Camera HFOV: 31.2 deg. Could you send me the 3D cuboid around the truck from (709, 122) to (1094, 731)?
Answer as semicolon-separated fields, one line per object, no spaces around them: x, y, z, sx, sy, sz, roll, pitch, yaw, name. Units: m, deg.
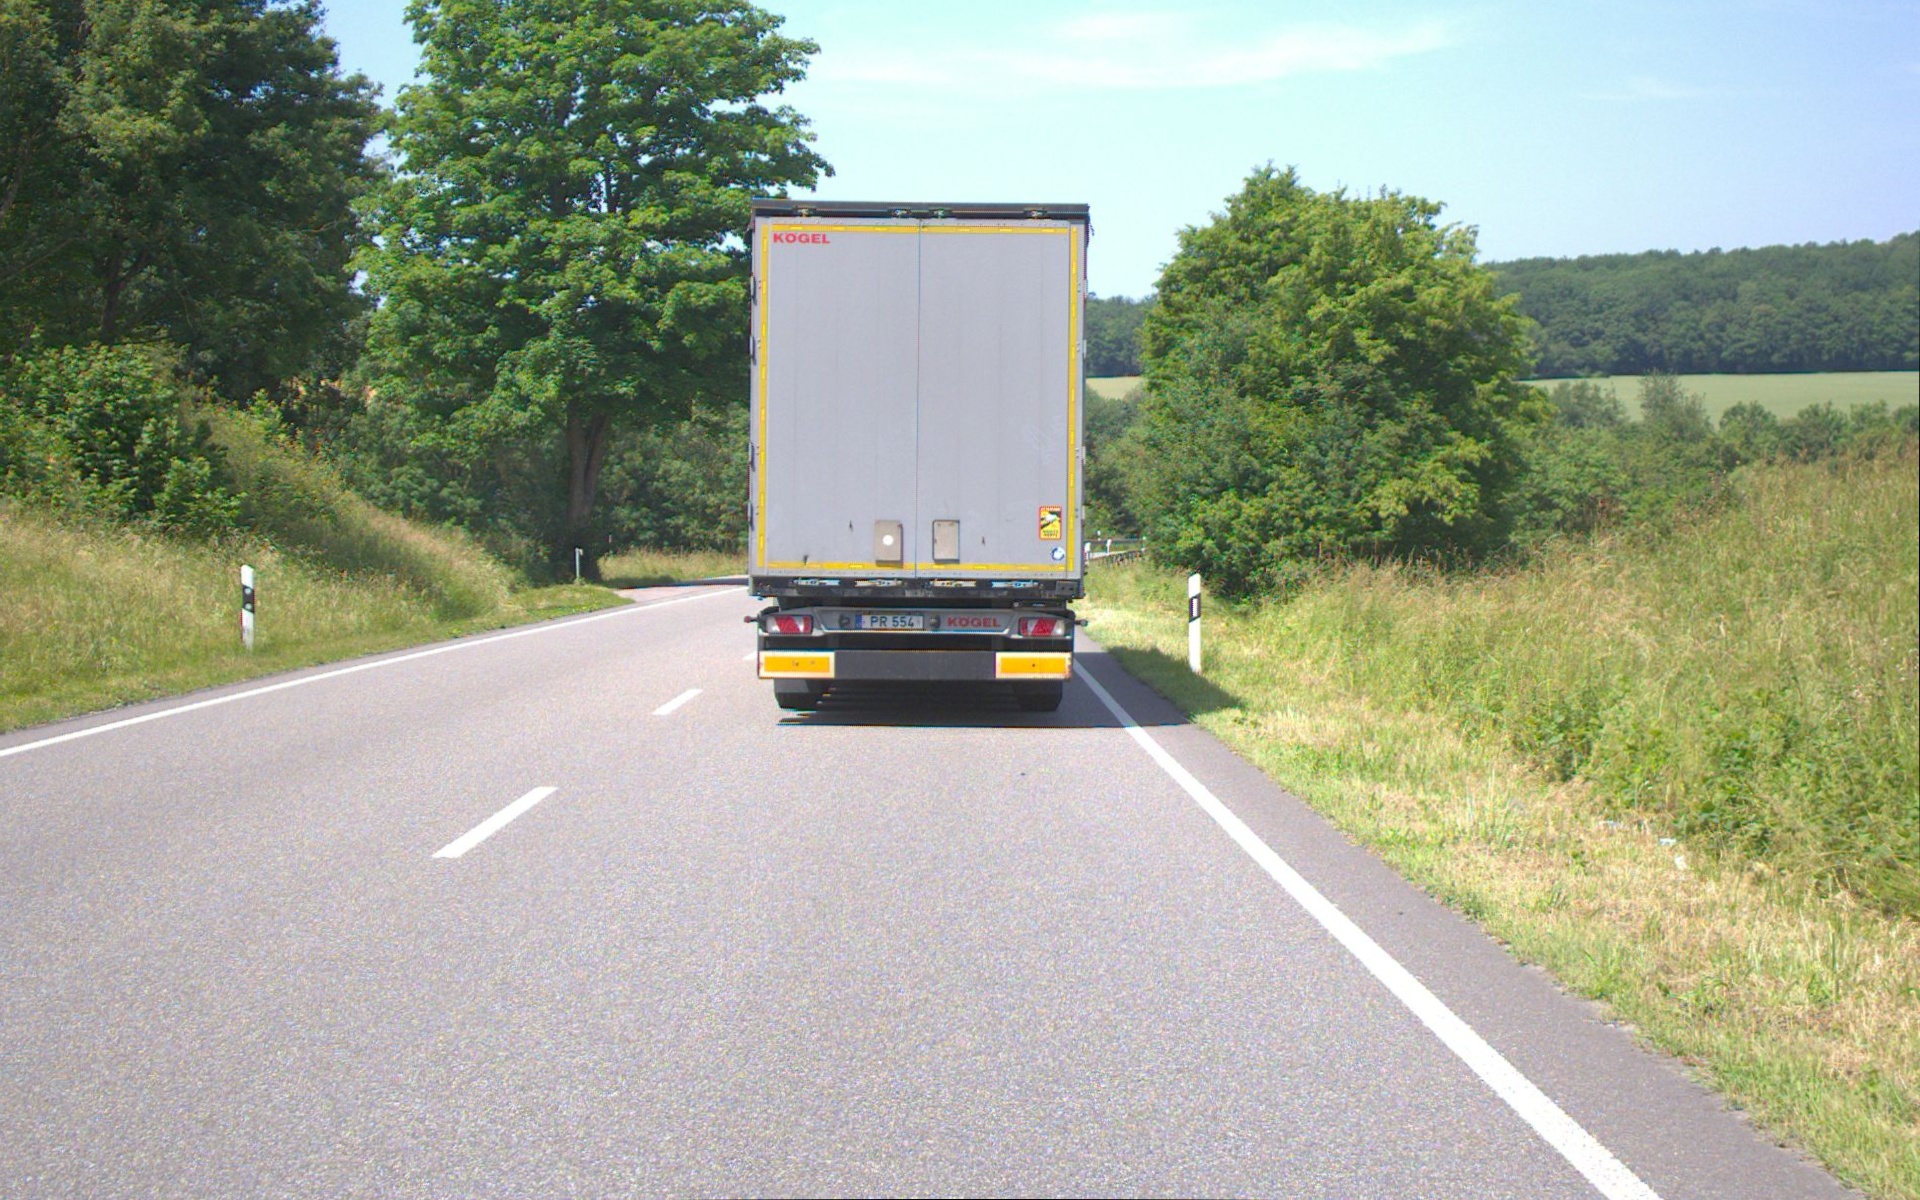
-0.336;-1.450;31.659;2.817;4.517;11.768;1;1;1;truck
